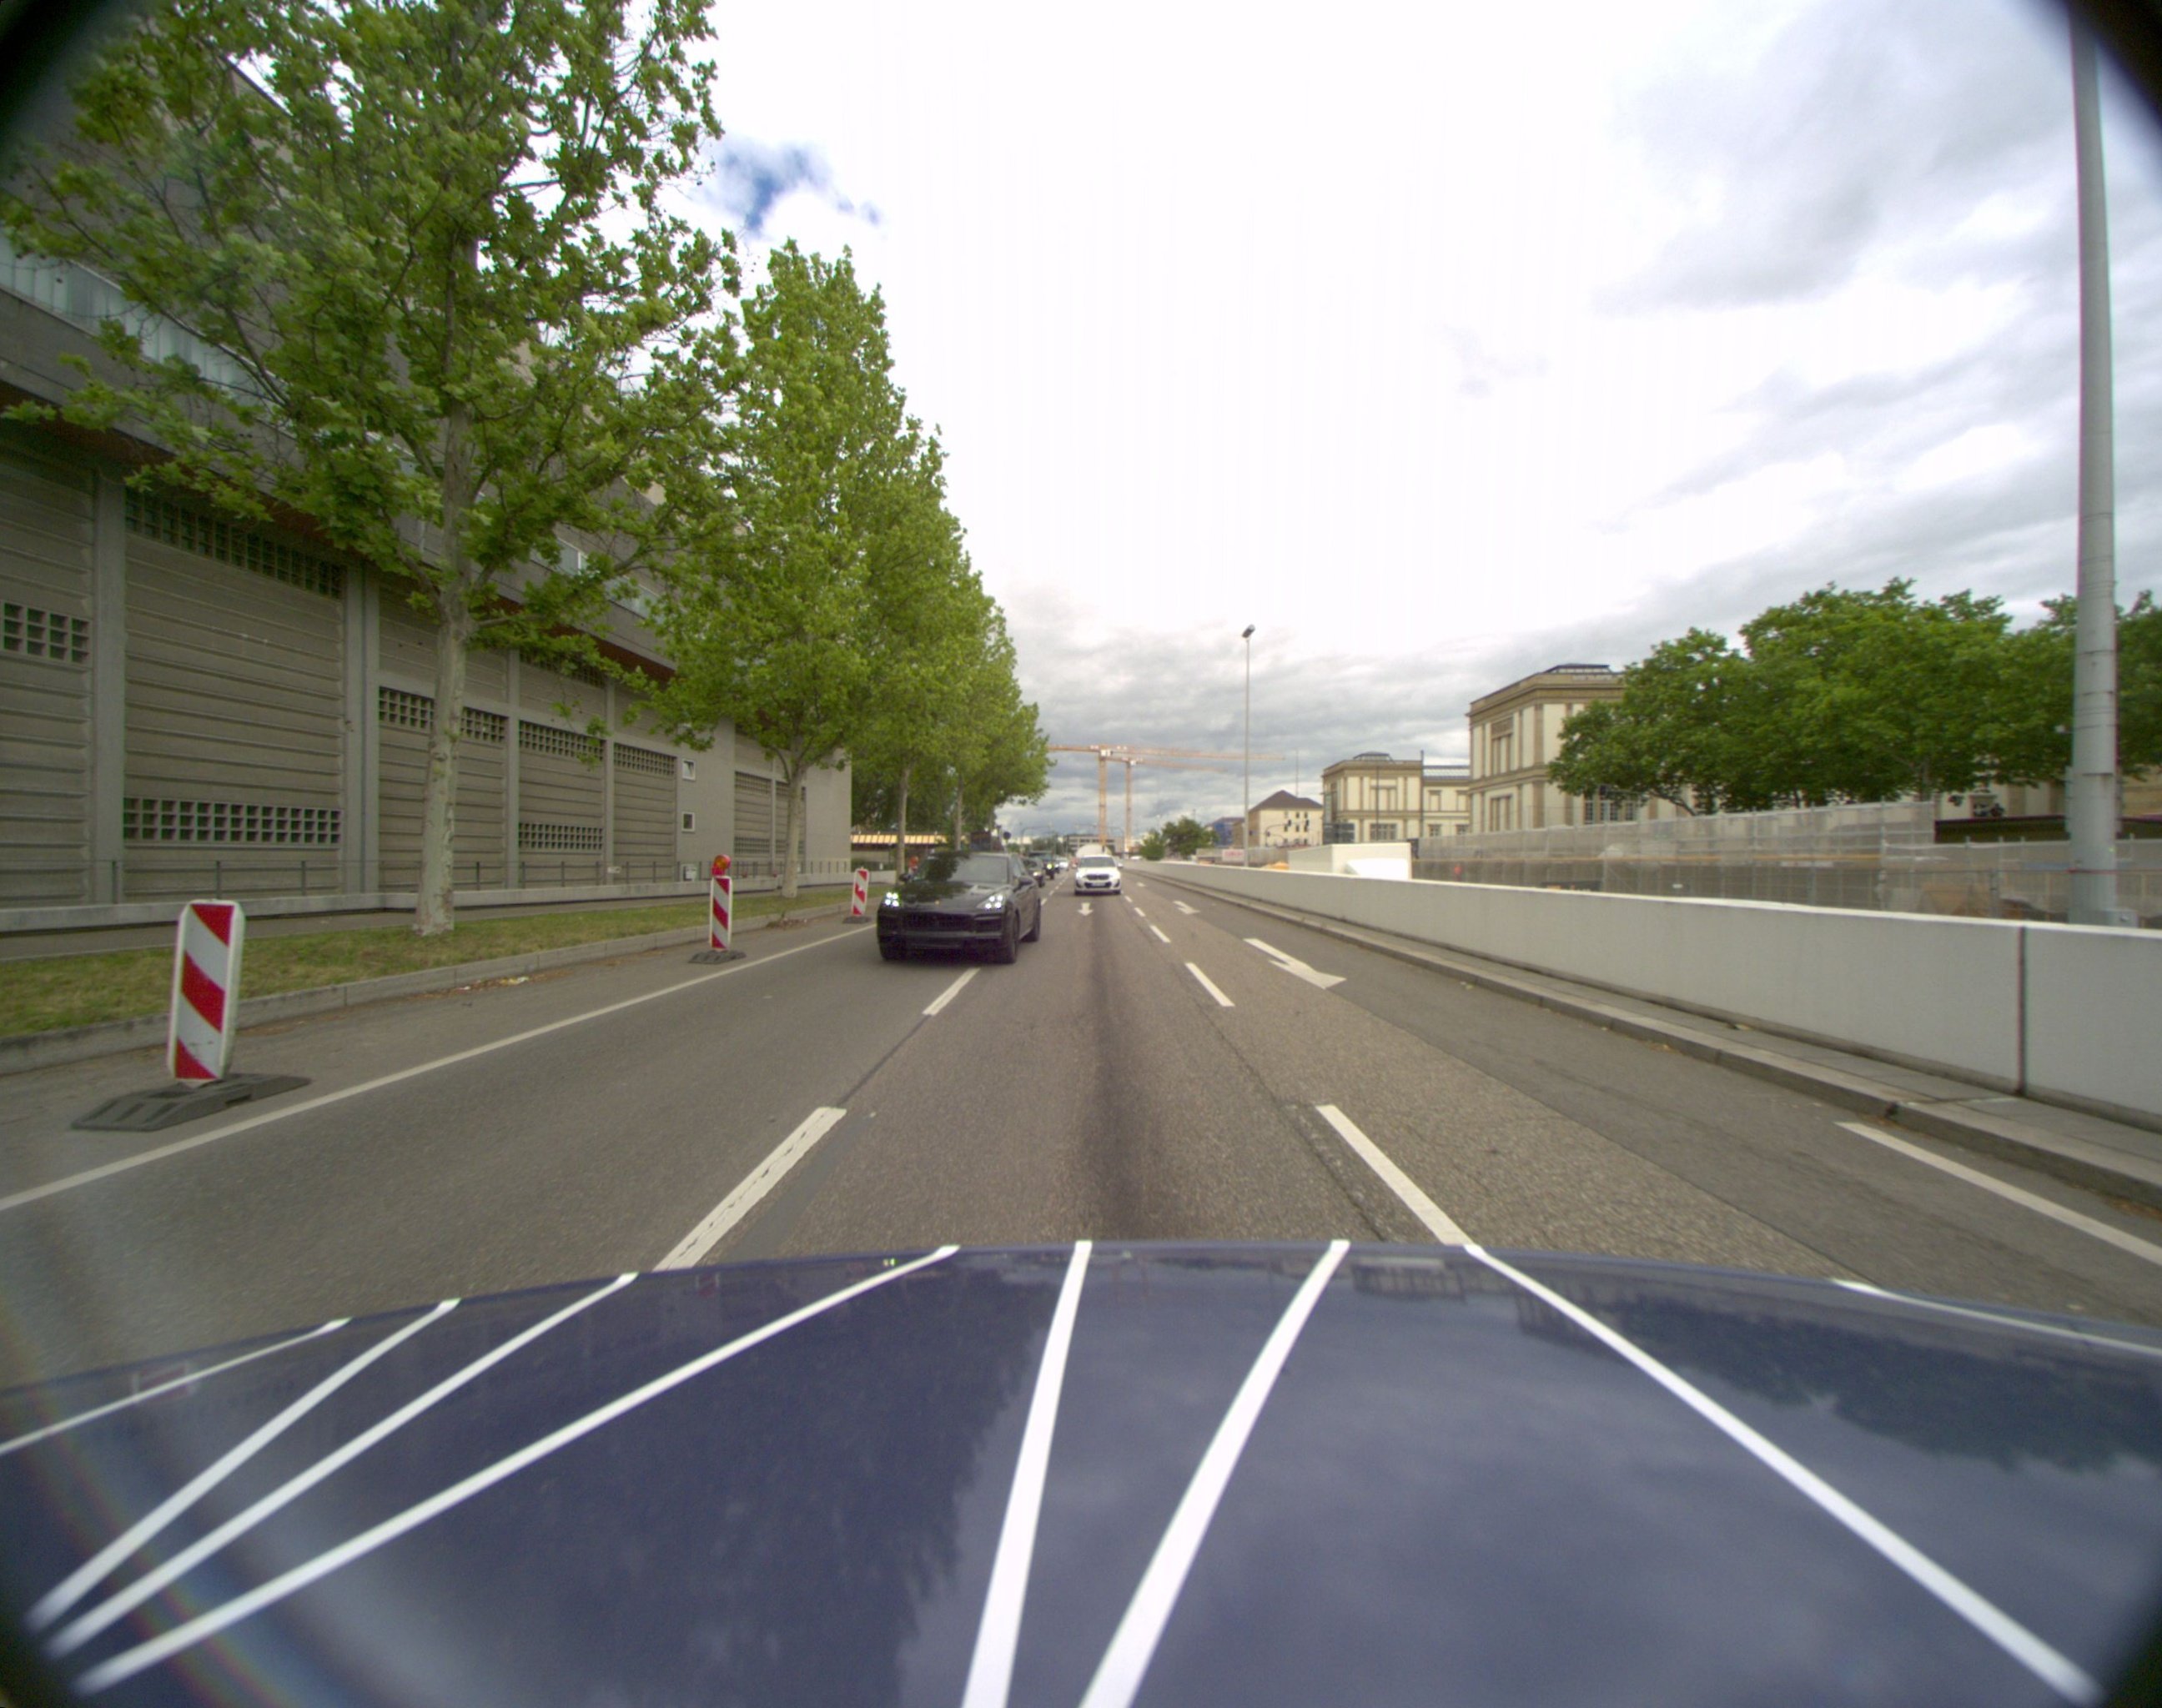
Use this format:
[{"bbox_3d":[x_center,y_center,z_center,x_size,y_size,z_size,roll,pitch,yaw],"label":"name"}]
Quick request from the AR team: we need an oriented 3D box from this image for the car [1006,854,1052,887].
[{"bbox_3d":[-2.642,0.809,39.325,1.956,1.499,4.270,2,0,1],"label":"car"}]

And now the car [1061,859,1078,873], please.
[{"bbox_3d":[-1.432,1.504,97.955,1.998,1.632,4.000,1,0,1],"label":"car"}]

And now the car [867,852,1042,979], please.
[{"bbox_3d":[-1.841,0.835,12.602,1.955,1.638,4.608,1,1,2],"label":"car"}]

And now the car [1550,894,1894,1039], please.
[{"bbox_3d":[9.563,1.574,11.877,1.998,1.632,4.000,1,0,1],"label":"car"}]

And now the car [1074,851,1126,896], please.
[{"bbox_3d":[0.692,0.753,29.904,1.812,1.595,3.713,-1,-1,-2],"label":"car"}]

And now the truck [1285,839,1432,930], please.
[{"bbox_3d":[9.200,1.001,26.068,2.609,2.695,6.675,1,-1,0],"label":"truck"}]

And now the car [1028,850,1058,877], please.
[{"bbox_3d":[-2.601,0.664,53.269,1.812,1.815,3.773,1,0,1],"label":"car"}]

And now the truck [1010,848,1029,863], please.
[{"bbox_3d":[-15.413,0.433,190.062,2.913,3.653,9.014,0,0,-16],"label":"truck"}]

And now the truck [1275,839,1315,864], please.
[{"bbox_3d":[36.706,-0.323,131.358,2.924,4.058,16.619,1,-1,3],"label":"truck"}]
